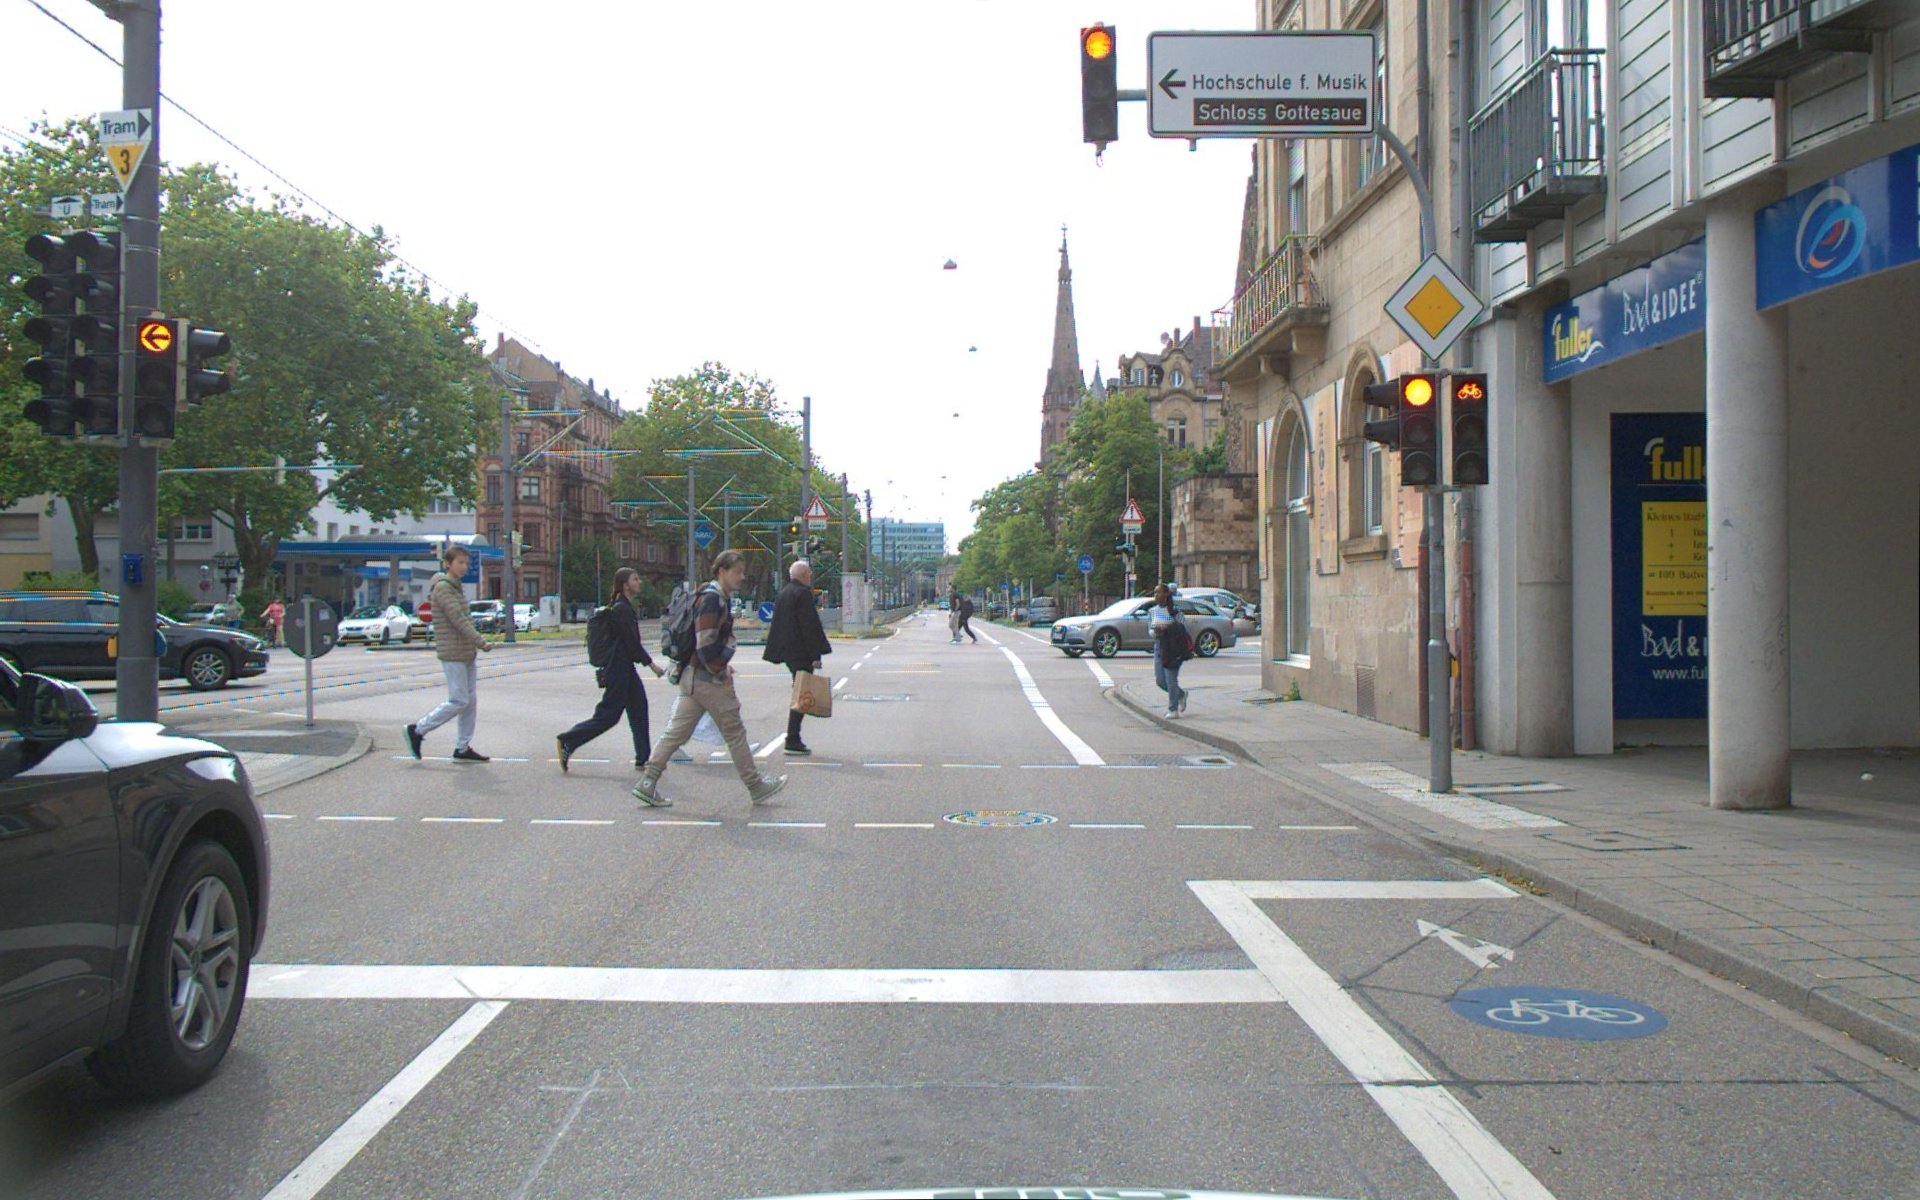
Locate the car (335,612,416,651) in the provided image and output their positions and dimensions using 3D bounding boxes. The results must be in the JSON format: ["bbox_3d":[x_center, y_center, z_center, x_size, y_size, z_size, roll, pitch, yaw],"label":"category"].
[{"bbox_3d":[-21.483,1.153,60.945,1.601,1.348,3.999,1,0,-1],"label":"car"}]

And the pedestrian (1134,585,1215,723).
[{"bbox_3d":[2.731,0.673,21.024,0.659,1.709,0.865,0,-1,38],"label":"pedestrian"}]

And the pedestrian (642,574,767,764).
[{"bbox_3d":[-2.256,0.591,14.637,0.689,1.621,0.828,1,-1,36],"label":"pedestrian"}]

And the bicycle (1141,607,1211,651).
[{"bbox_3d":[5.867,0.789,44.911,1.880,1.162,0.622,1,-1,-30],"label":"bicycle"}]

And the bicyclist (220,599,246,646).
[{"bbox_3d":[-24.901,0.765,56.664,0.576,1.595,0.618,1,0,-1],"label":"bicyclist"}]

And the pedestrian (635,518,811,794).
[{"bbox_3d":[-1.630,0.372,11.332,1.113,1.810,0.625,0,-1,-19],"label":"pedestrian"}]

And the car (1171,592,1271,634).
[{"bbox_3d":[10.613,0.510,67.385,3.721,1.629,2.000,1,0,-1],"label":"car"}]

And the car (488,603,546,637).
[{"bbox_3d":[-21.705,0.955,81.199,1.856,1.585,3.835,1,0,-1],"label":"car"}]

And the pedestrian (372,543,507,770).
[{"bbox_3d":[-4.376,0.464,13.893,0.998,1.845,0.580,1,-1,-24],"label":"pedestrian"}]

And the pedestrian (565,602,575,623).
[{"bbox_3d":[-26.842,0.854,113.842,0.445,1.486,0.522,0,-1,43],"label":"pedestrian"}]

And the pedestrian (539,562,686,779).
[{"bbox_3d":[-2.811,0.550,13.420,0.616,1.681,0.993,1,-1,36],"label":"pedestrian"}]

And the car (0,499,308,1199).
[{"bbox_3d":[-3.011,0.588,3.231,1.842,1.629,4.356,0,0,-2],"label":"car"}]

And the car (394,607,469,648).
[{"bbox_3d":[-21.457,1.079,67.316,1.856,1.585,3.835,1,0,-1],"label":"car"}]

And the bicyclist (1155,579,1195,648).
[{"bbox_3d":[5.841,0.367,44.906,0.955,1.851,0.527,1,-1,-30],"label":"bicyclist"}]

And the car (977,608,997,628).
[{"bbox_3d":[2.873,1.897,174.532,1.953,2.049,3.999,1,0,-1],"label":"car"}]

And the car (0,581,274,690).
[{"bbox_3d":[-12.675,0.522,24.818,4.373,1.536,1.825,1,0,-24],"label":"car"}]

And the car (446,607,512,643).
[{"bbox_3d":[-21.560,1.103,74.293,1.856,1.585,3.835,1,0,-1],"label":"car"}]

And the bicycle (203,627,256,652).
[{"bbox_3d":[-24.938,1.342,56.464,1.645,0.786,0.656,1,0,19],"label":"bicycle"}]

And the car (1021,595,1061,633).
[{"bbox_3d":[4.520,0.753,92.616,1.953,2.049,3.999,1,0,-1],"label":"car"}]

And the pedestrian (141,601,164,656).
[{"bbox_3d":[-27.112,0.956,55.549,0.367,1.815,0.551,1,-1,30],"label":"pedestrian"}]

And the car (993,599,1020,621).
[{"bbox_3d":[3.662,0.802,130.849,1.953,1.635,4.163,-2,0,-1],"label":"car"}]

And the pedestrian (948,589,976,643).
[{"bbox_3d":[0.052,0.510,52.311,0.834,1.683,0.508,1,-1,-3],"label":"pedestrian"}]

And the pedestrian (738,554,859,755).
[{"bbox_3d":[-1.505,0.488,15.435,0.900,1.815,0.645,1,-1,37],"label":"pedestrian"}]

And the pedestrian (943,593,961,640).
[{"bbox_3d":[-0.254,0.542,54.752,0.535,1.564,0.465,1,-1,-5],"label":"pedestrian"}]

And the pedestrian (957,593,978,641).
[{"bbox_3d":[0.255,0.551,54.299,0.640,1.564,0.465,1,-1,-5],"label":"pedestrian"}]

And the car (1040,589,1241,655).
[{"bbox_3d":[4.455,0.542,40.782,4.653,1.536,1.826,1,0,-23],"label":"car"}]

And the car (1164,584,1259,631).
[{"bbox_3d":[10.722,0.325,70.799,3.721,1.937,2.000,1,0,-1],"label":"car"}]

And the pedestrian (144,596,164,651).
[{"bbox_3d":[-27.057,0.786,55.539,0.367,1.815,0.448,1,-1,32],"label":"pedestrian"}]

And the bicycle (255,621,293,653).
[{"bbox_3d":[-23.575,1.266,56.895,0.511,1.035,1.936,1,0,-1],"label":"bicycle"}]

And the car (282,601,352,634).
[{"bbox_3d":[-31.931,0.866,82.291,1.953,1.557,3.999,1,0,-1],"label":"car"}]

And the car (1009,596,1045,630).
[{"bbox_3d":[4.132,0.781,102.044,1.953,2.049,3.999,1,0,-1],"label":"car"}]
